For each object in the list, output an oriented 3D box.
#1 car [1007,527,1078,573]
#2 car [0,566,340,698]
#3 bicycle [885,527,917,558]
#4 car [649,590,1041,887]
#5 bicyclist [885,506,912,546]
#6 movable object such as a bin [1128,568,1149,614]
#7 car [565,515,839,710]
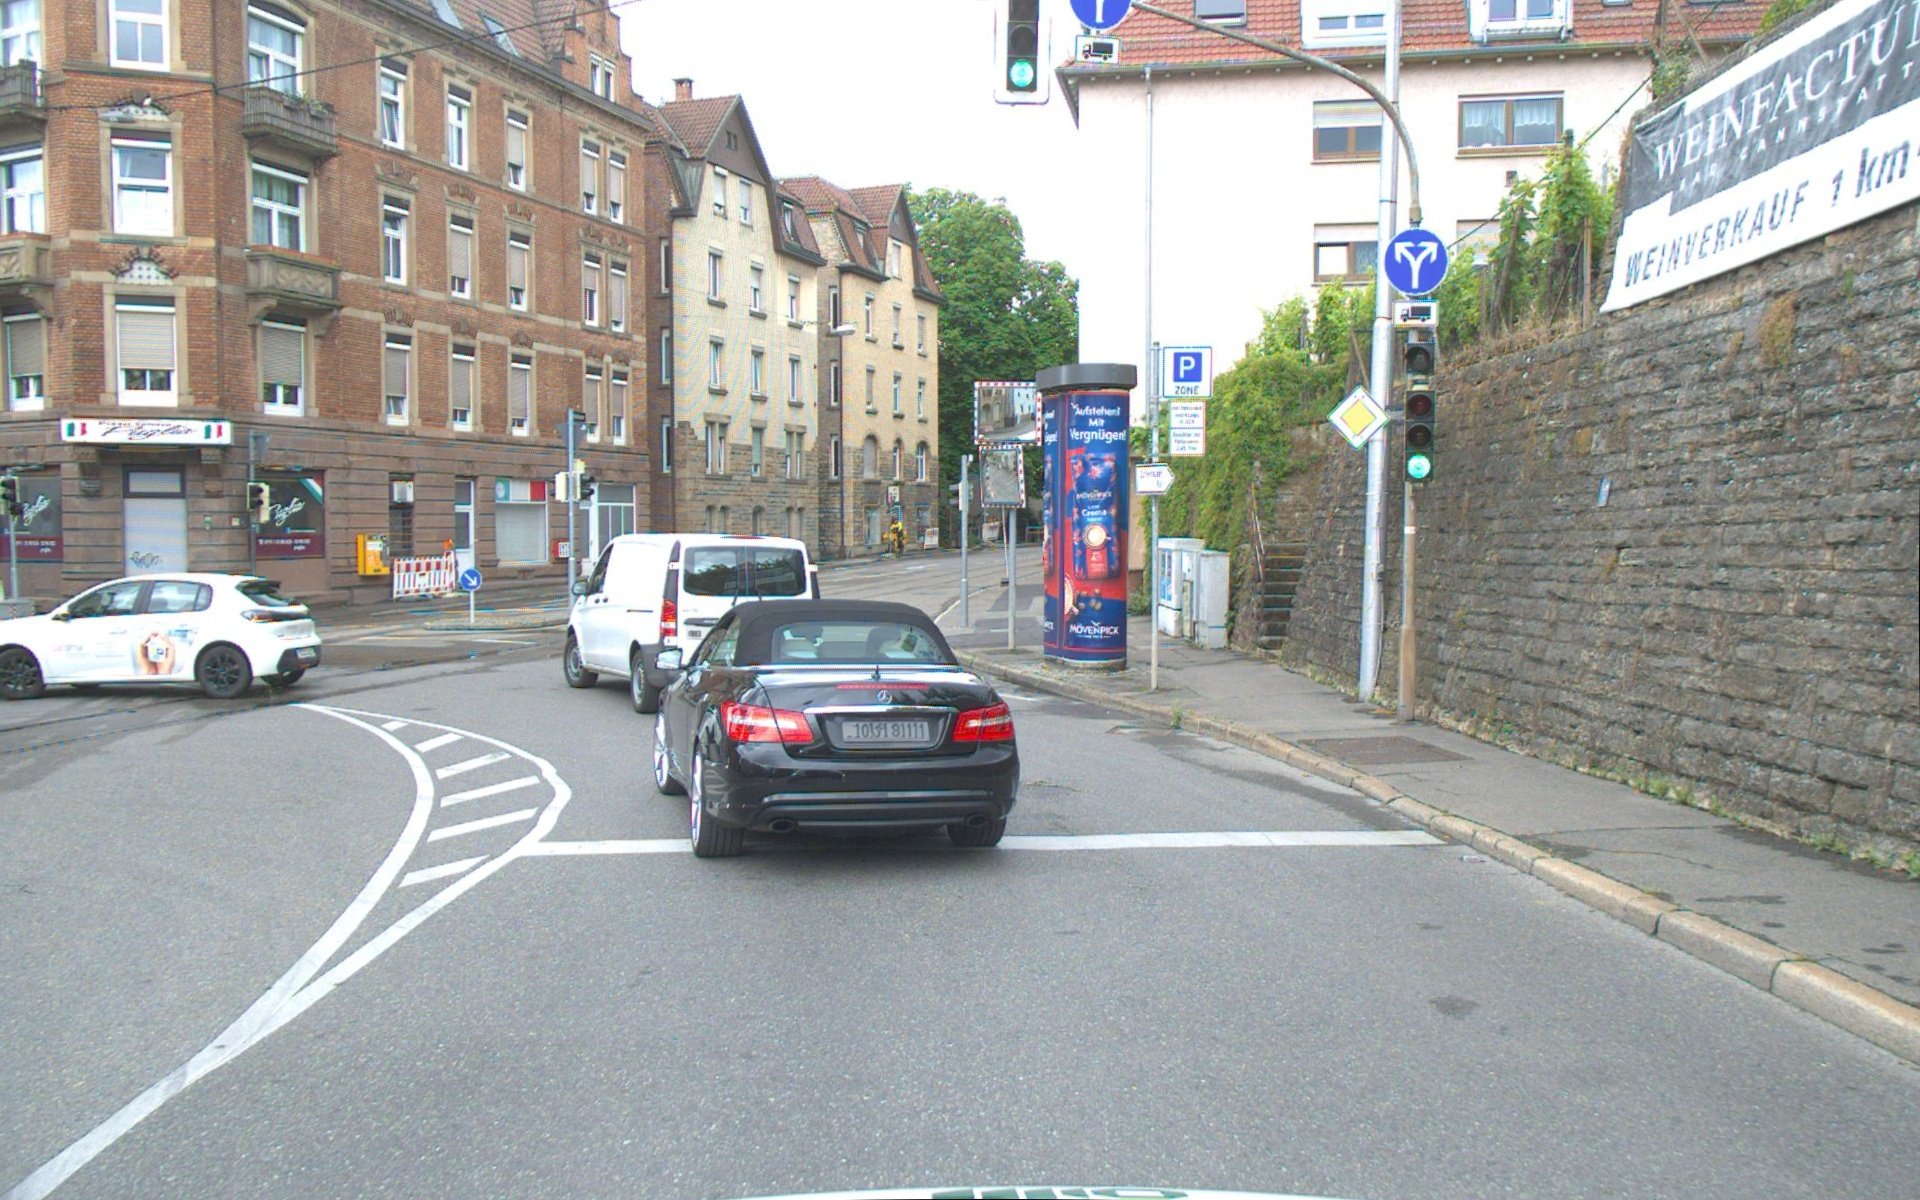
[{"bbox_3d":[3.444,-2.091,68.085,1.908,1.748,4.003,-2,2,18],"label":"car"},{"bbox_3d":[-9.822,0.380,20.218,3.824,1.492,1.687,-1,0,3],"label":"car"},{"bbox_3d":[-2.710,-2.642,75.809,0.618,1.329,2.602,-3,2,16],"label":"bicycle"},{"bbox_3d":[-0.954,0.680,10.473,1.732,1.434,4.382,-1,0,-14],"label":"car"},{"bbox_3d":[-2.826,-3.381,75.500,0.923,1.731,0.786,-3,2,16],"label":"bicyclist"},{"bbox_3d":[3.689,-0.186,34.243,0.337,0.927,0.494,0,0,-6],"label":"movable object such as a bin"},{"bbox_3d":[-3.113,0.118,19.085,1.868,1.962,4.607,-1,0,-26],"label":"car"}]
